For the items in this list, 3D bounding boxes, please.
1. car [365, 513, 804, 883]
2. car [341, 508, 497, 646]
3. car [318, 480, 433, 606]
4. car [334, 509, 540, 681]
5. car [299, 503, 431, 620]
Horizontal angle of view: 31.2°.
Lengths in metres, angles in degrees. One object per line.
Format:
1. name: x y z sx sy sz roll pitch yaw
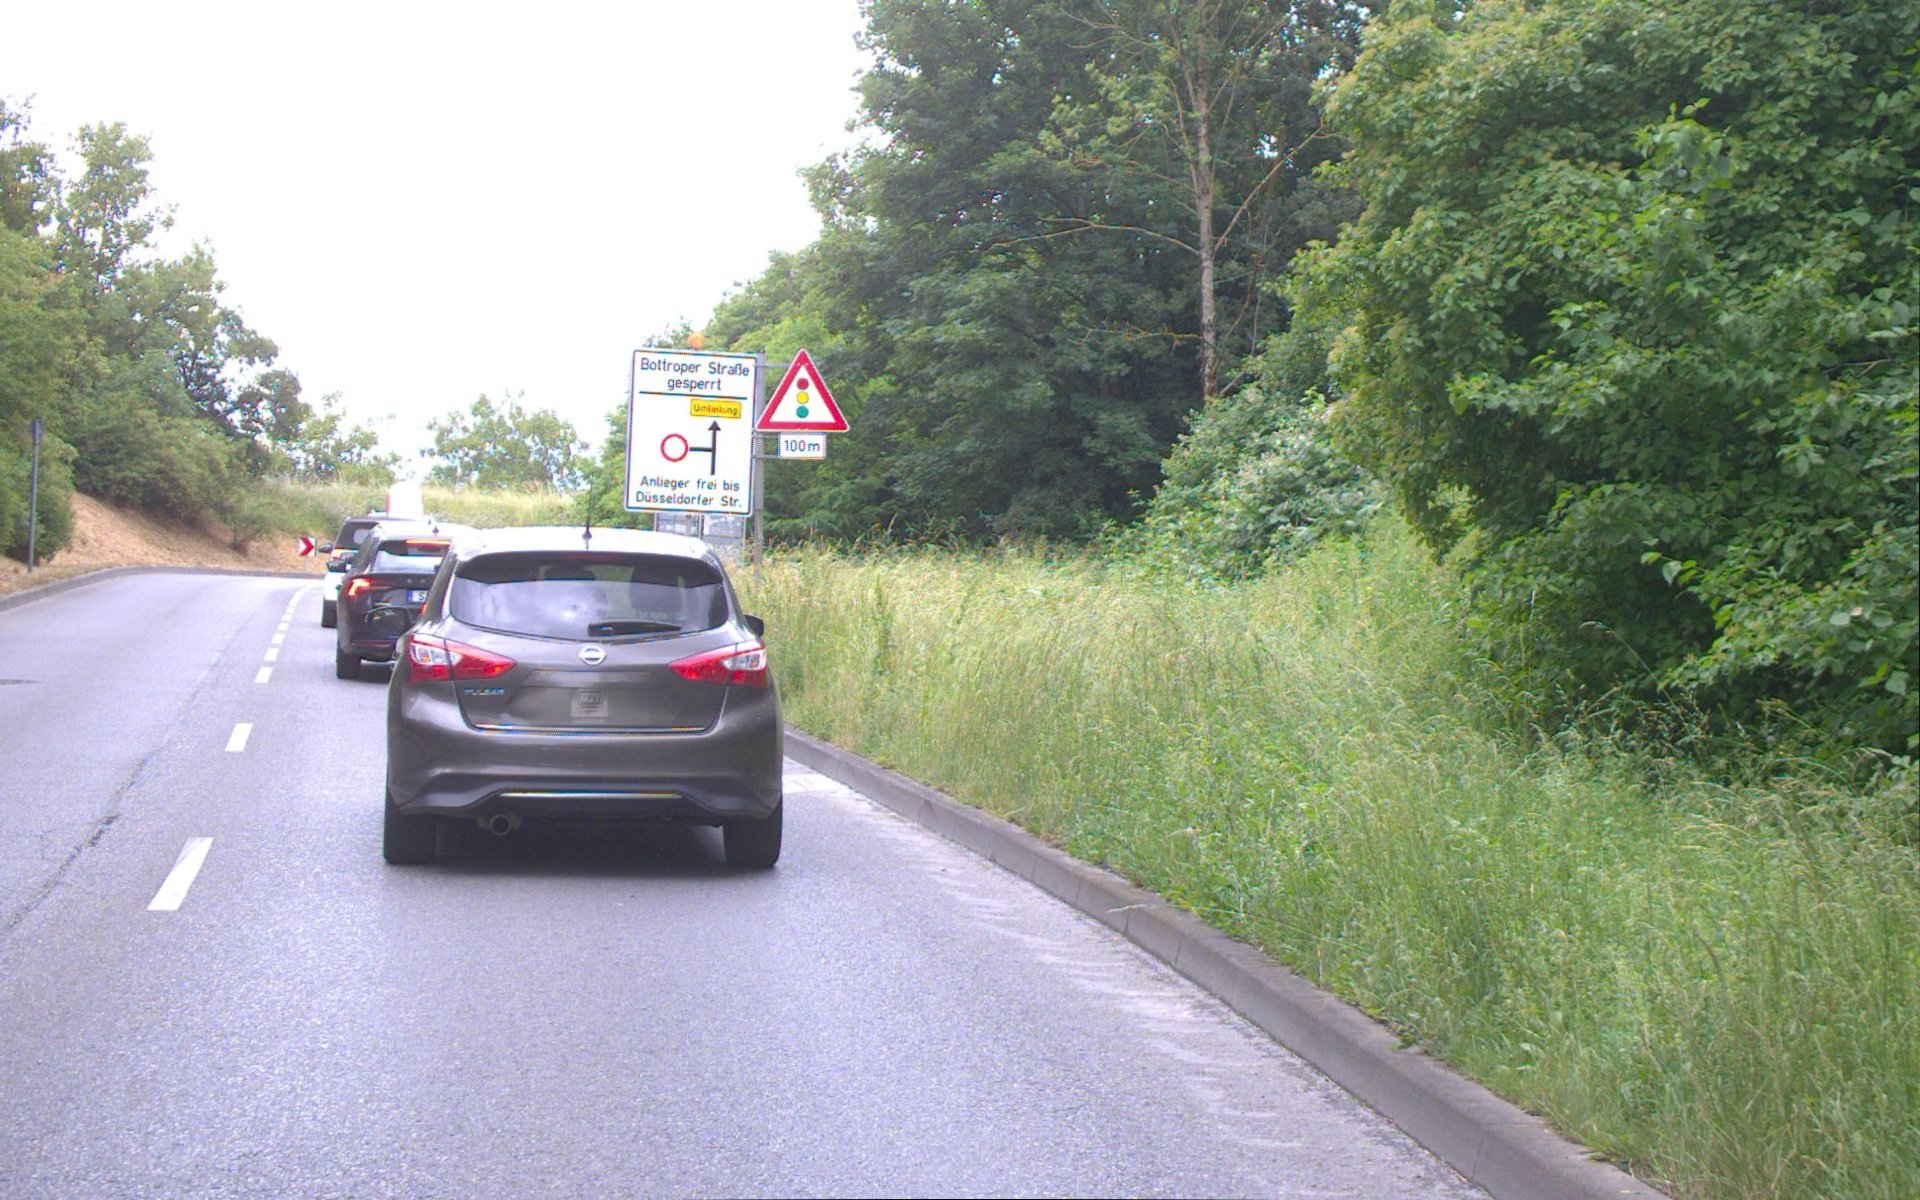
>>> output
1. car: -1.874 0.382 16.382 1.830 1.551 3.500 1 1 -9
2. car: -6.438 -0.303 40.810 1.735 1.551 3.544 1 1 -10
3. car: -9.374 -0.932 55.155 1.735 1.928 3.544 1 1 -10
4. car: -5.055 -0.086 33.079 1.830 1.551 3.626 1 1 -10
5. car: -8.287 -0.558 47.933 1.735 1.551 3.544 1 1 -10
